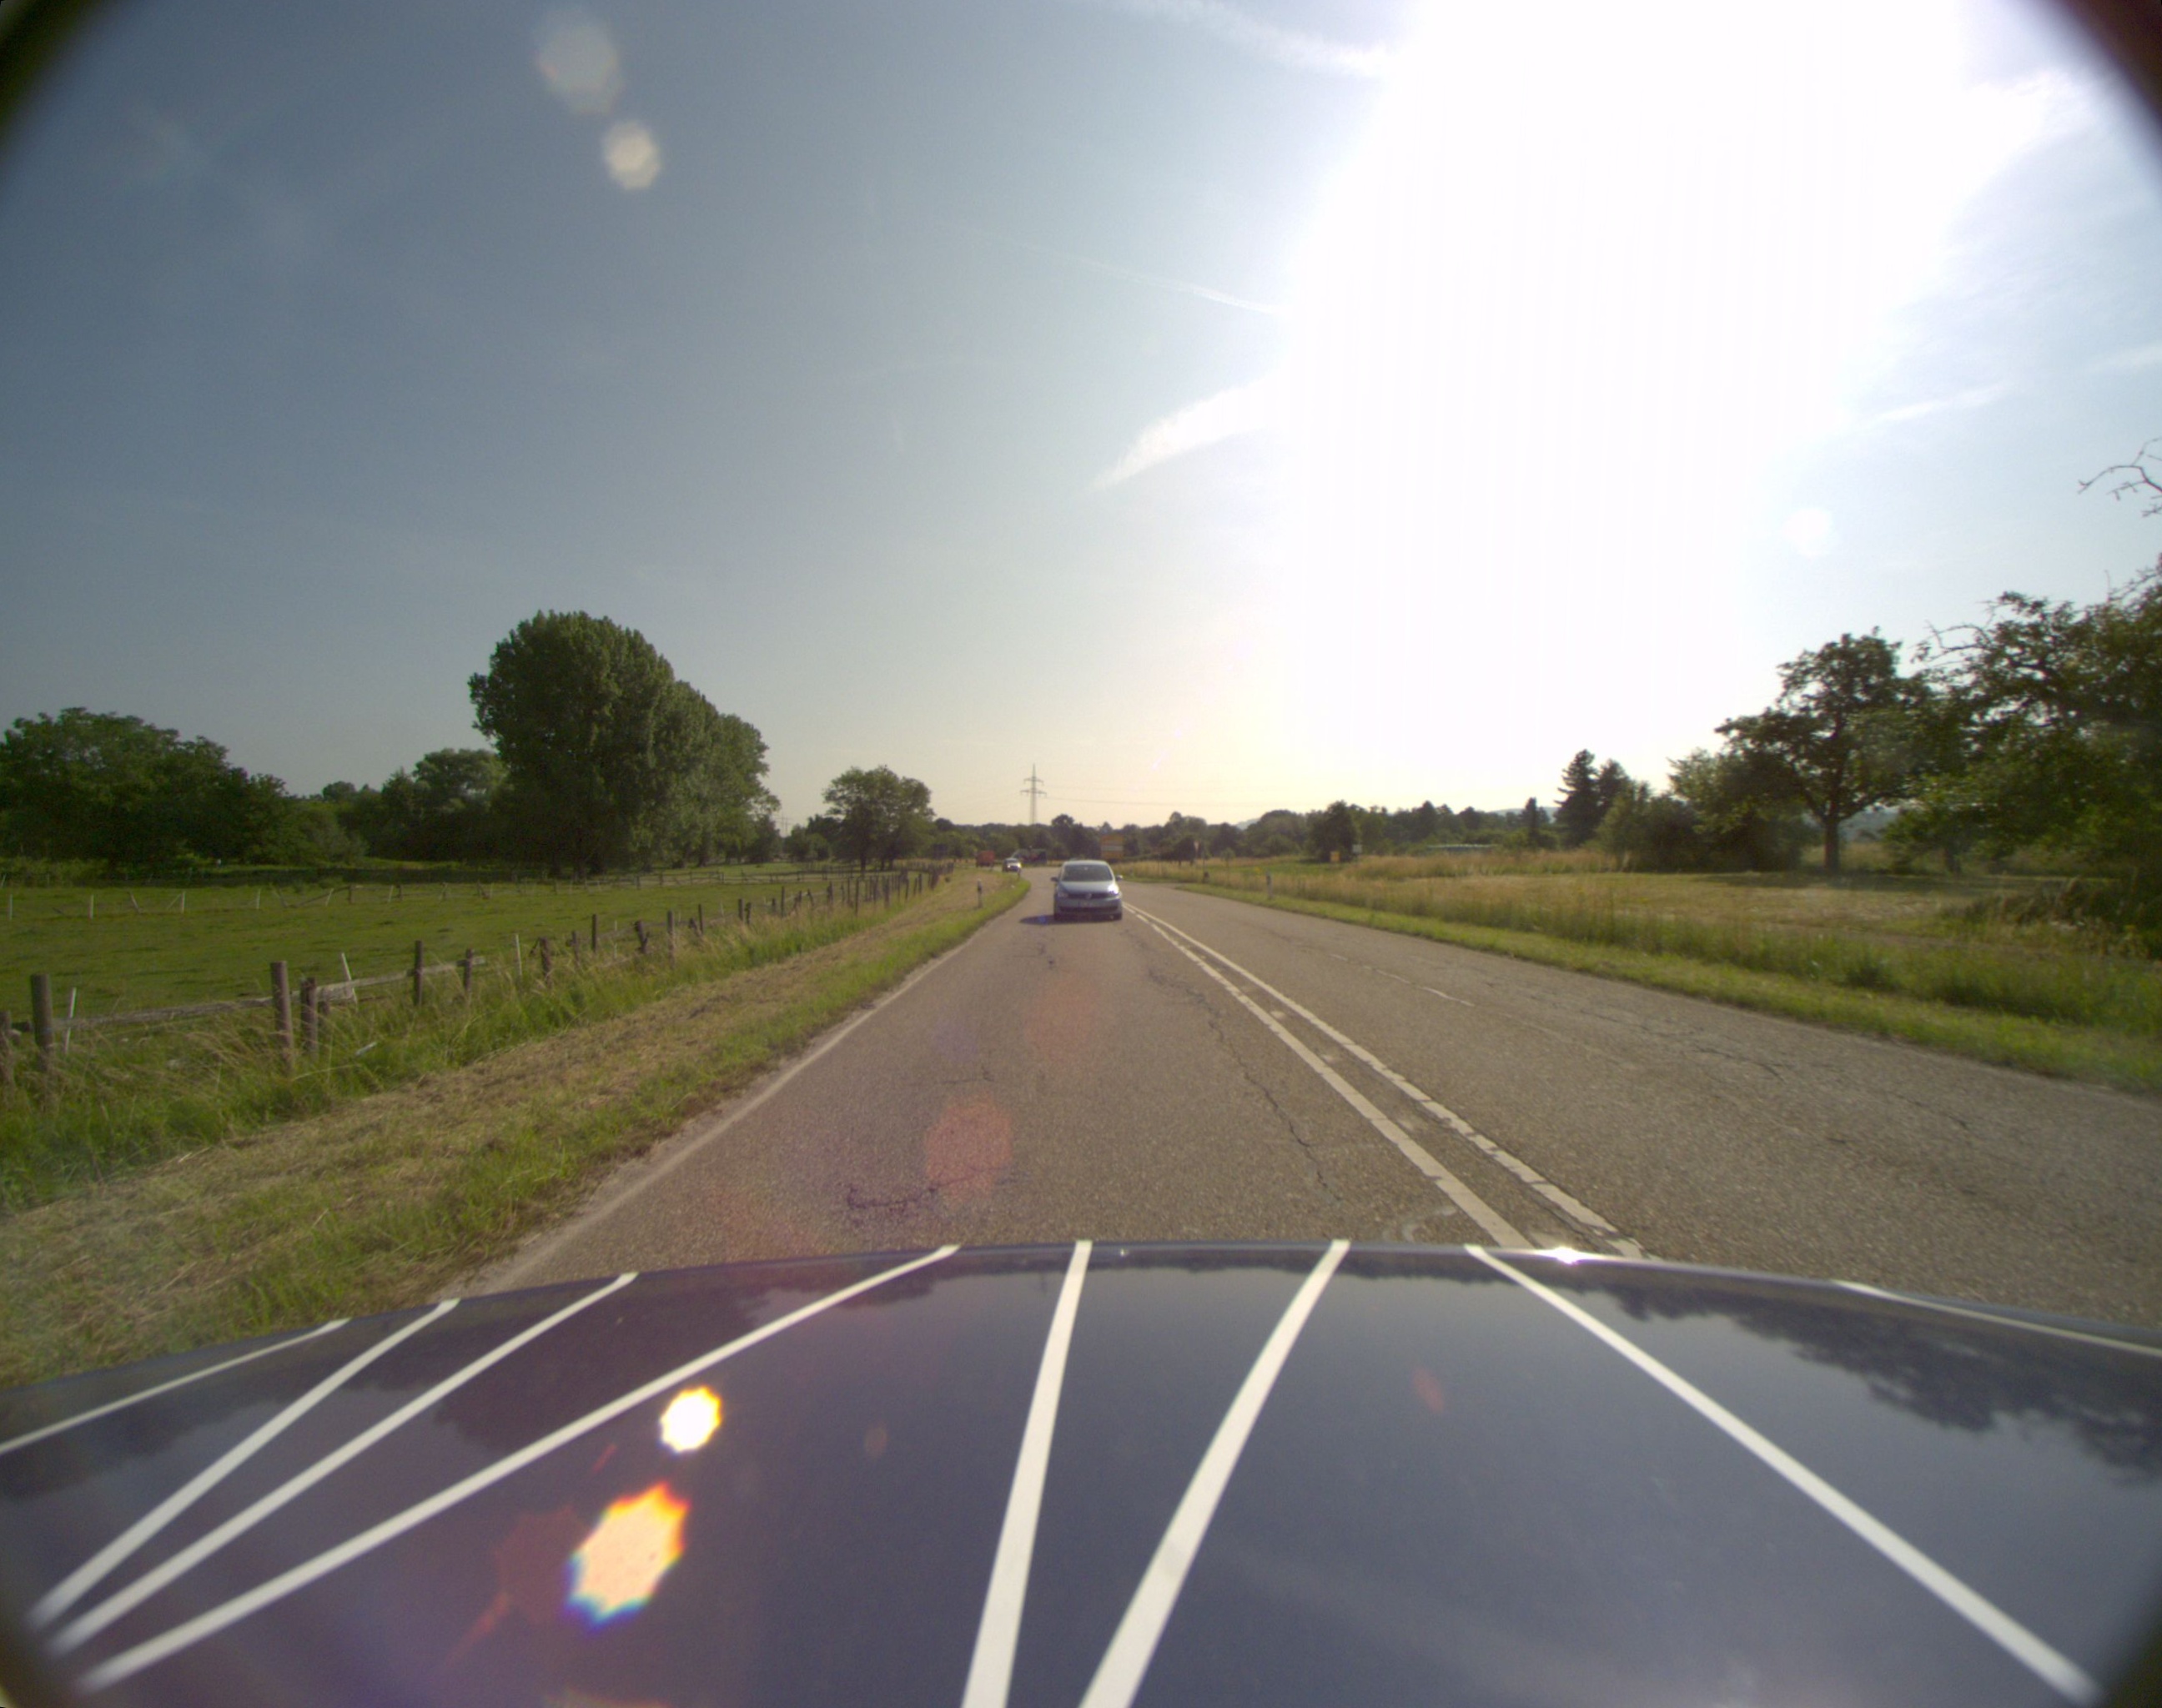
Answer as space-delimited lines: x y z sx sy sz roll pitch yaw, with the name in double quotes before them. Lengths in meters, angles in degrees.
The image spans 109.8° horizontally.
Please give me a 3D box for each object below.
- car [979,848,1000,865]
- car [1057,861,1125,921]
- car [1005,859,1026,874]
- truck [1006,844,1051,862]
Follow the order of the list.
"car" -14.776 0.353 122.244 2.133 2.680 5.259 -1 0 -20
"car" 0.199 1.002 22.183 1.718 1.495 4.093 -2 0 -2
"car" -7.594 1.413 88.381 2.000 1.570 3.906 -2 0 -10
"truck" -9.008 -0.139 130.699 7.367 3.028 2.581 -1 0 -11
